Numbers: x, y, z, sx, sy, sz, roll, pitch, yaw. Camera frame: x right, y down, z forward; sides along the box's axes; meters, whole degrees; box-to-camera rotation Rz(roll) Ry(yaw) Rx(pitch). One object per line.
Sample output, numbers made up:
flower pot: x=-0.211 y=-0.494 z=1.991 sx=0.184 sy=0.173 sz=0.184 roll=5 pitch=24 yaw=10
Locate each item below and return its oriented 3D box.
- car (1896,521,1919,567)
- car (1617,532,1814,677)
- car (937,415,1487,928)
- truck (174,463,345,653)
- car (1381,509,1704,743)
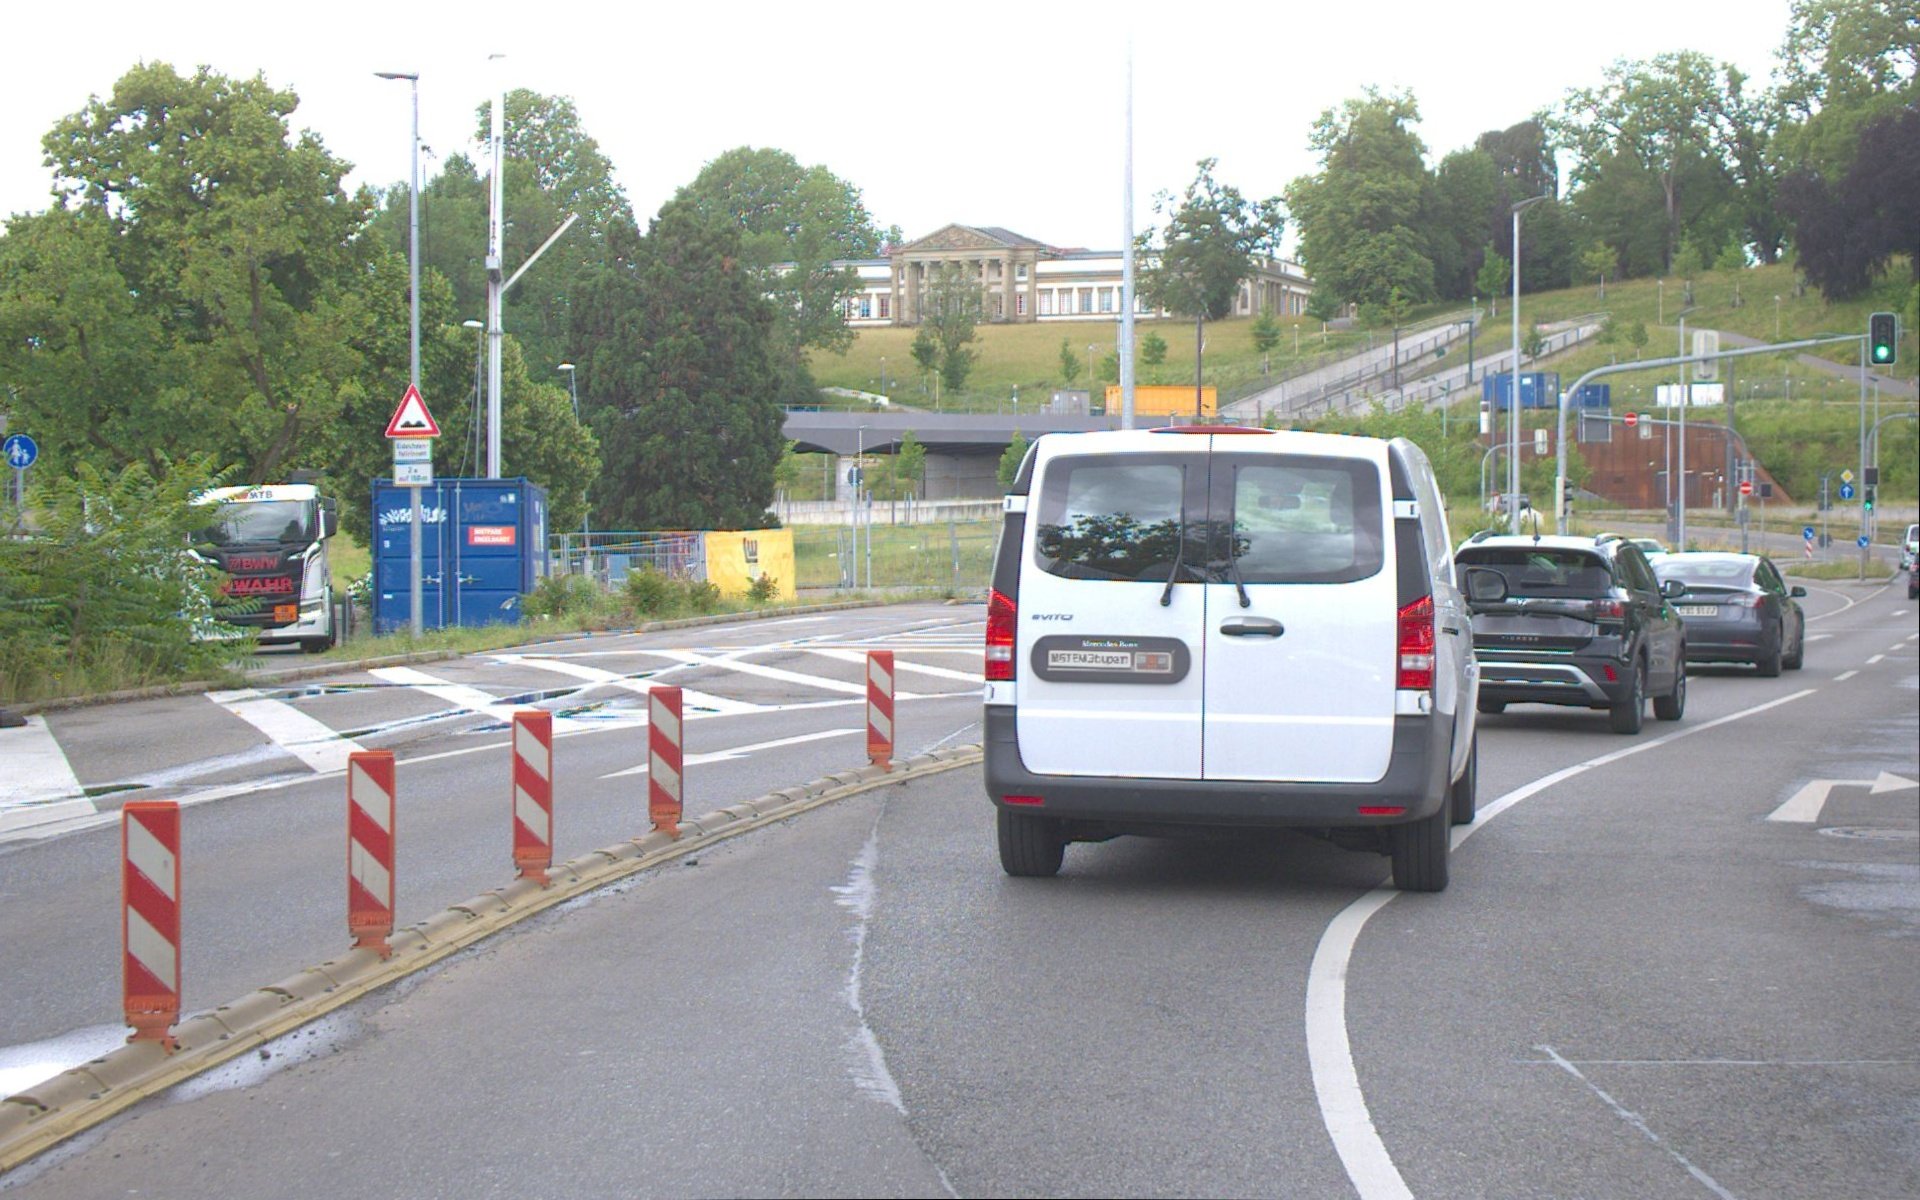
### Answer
car: x=38.104 y=-2.213 z=136.306 sx=1.753 sy=1.765 sz=3.998 roll=3 pitch=2 yaw=14
car: x=9.005 y=0.014 z=40.777 sx=1.840 sy=1.577 sz=4.059 roll=2 pitch=2 yaw=18
car: x=1.287 y=0.219 z=15.395 sx=1.960 sy=1.897 sz=4.460 roll=2 pitch=1 yaw=10
truck: x=-13.240 y=-0.869 z=65.515 sx=2.792 sy=3.324 sz=8.481 roll=-2 pitch=2 yaw=-9
car: x=4.859 y=0.161 z=28.239 sx=1.840 sy=1.723 sz=4.058 roll=2 pitch=2 yaw=20
